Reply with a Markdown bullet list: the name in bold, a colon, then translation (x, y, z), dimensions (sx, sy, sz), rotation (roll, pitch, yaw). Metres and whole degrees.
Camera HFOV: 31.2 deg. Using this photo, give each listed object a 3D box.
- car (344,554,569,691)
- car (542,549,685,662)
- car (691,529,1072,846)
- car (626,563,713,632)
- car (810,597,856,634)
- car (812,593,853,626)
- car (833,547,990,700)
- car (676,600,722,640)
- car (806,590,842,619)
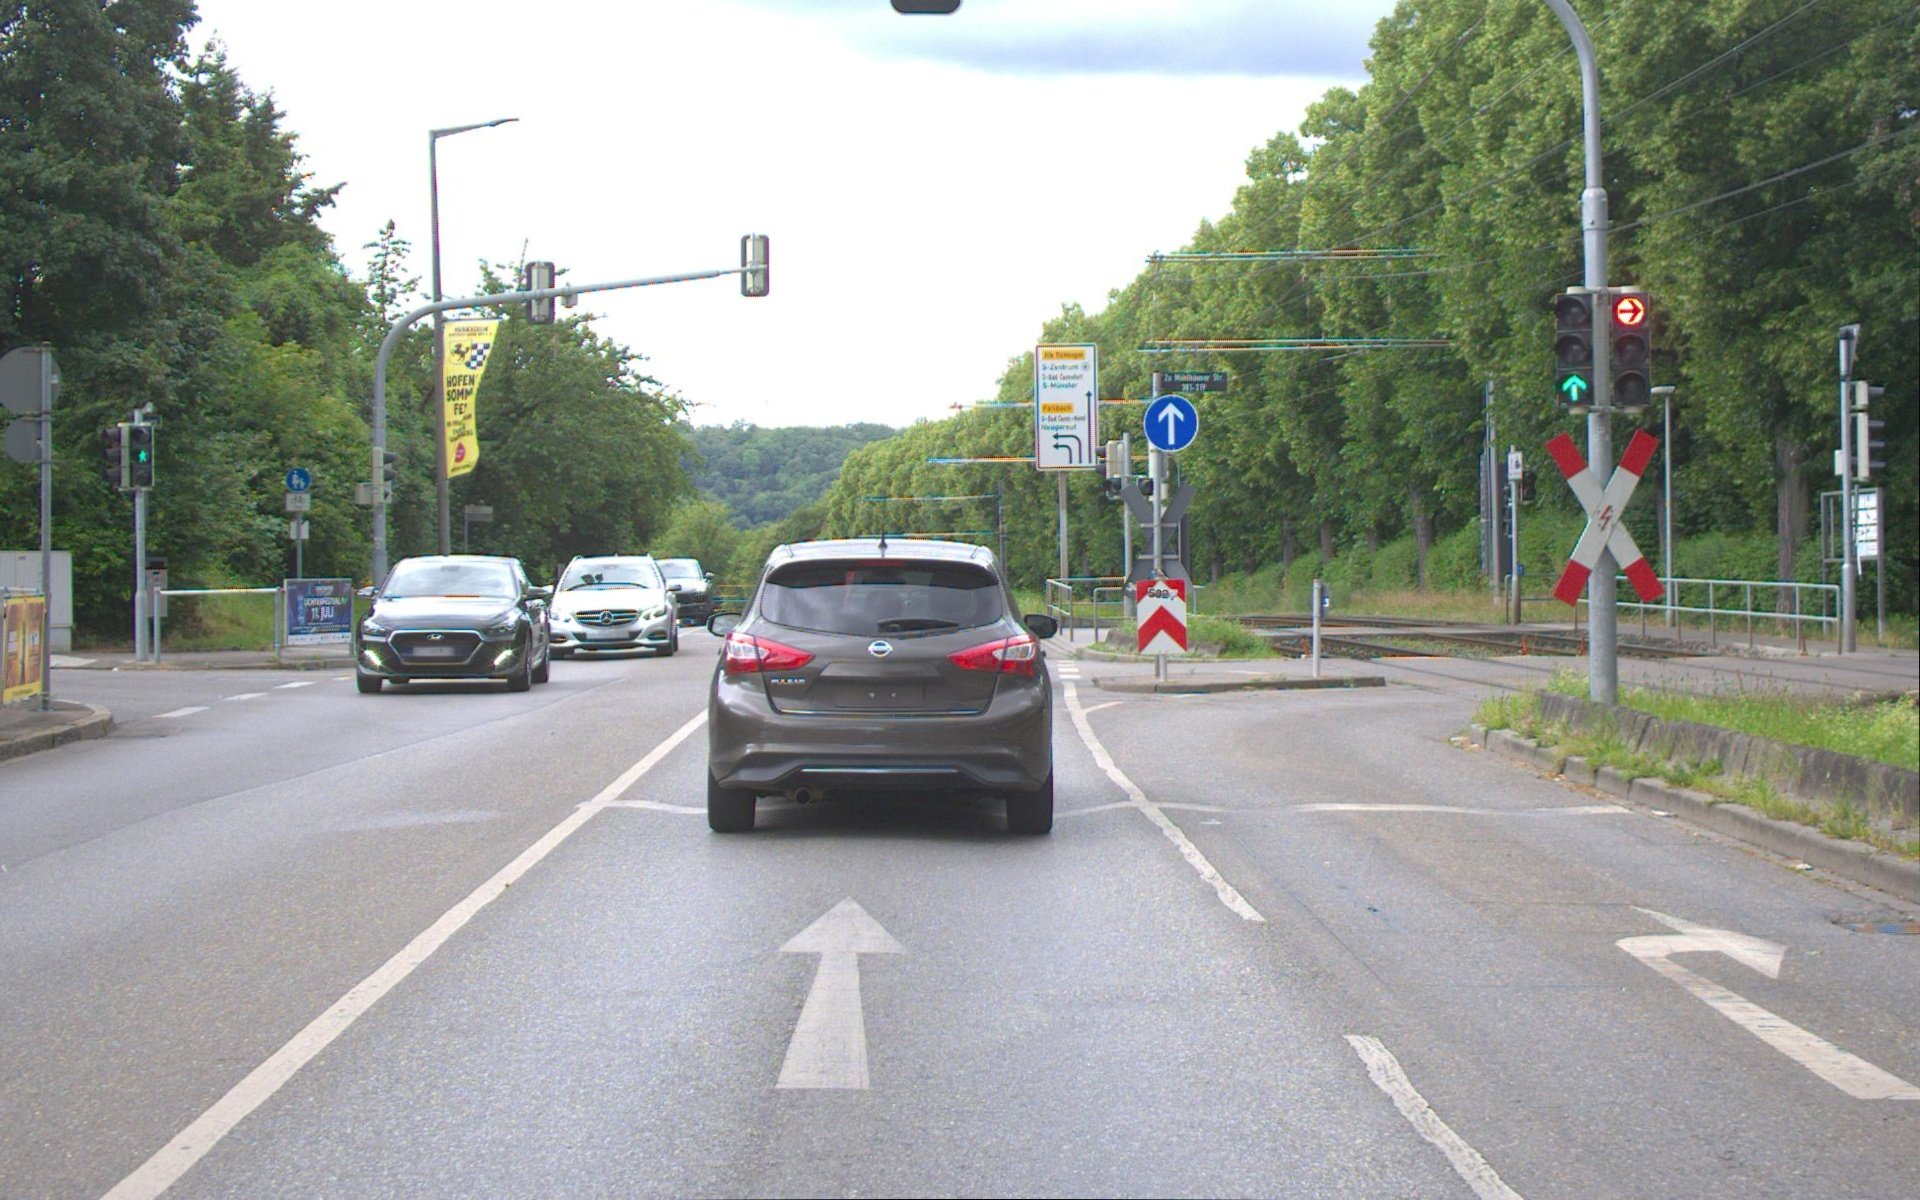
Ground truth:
- **car**: translation (-5.329, 0.199, 36.864), dimensions (1.812, 1.368, 4.160), rotation (0, 1, 0)
- **car**: translation (-5.108, 0.037, 51.252), dimensions (1.818, 1.561, 5.206), rotation (1, 1, -3)
- **car**: translation (-0.403, 0.383, 19.059), dimensions (1.835, 1.514, 4.483), rotation (1, 1, -1)
- **car**: translation (-6.872, -0.056, 81.689), dimensions (1.901, 1.568, 4.483), rotation (0, 0, -3)
- **car**: translation (-4.947, 0.594, 133.853), dimensions (1.741, 1.305, 4.001), rotation (2, 1, -2)
- **car**: translation (-5.609, 0.412, 150.916), dimensions (1.741, 1.305, 4.001), rotation (2, 1, -2)
- **car**: translation (-0.504, 0.207, 36.233), dimensions (1.538, 1.473, 3.764), rotation (-1, 1, -1)
- **car**: translation (-11.319, 0.874, 149.334), dimensions (1.785, 1.690, 4.000), rotation (-1, 0, -2)
- **car**: translation (-6.767, 0.228, 171.253), dimensions (1.741, 1.305, 4.001), rotation (2, 1, -2)
